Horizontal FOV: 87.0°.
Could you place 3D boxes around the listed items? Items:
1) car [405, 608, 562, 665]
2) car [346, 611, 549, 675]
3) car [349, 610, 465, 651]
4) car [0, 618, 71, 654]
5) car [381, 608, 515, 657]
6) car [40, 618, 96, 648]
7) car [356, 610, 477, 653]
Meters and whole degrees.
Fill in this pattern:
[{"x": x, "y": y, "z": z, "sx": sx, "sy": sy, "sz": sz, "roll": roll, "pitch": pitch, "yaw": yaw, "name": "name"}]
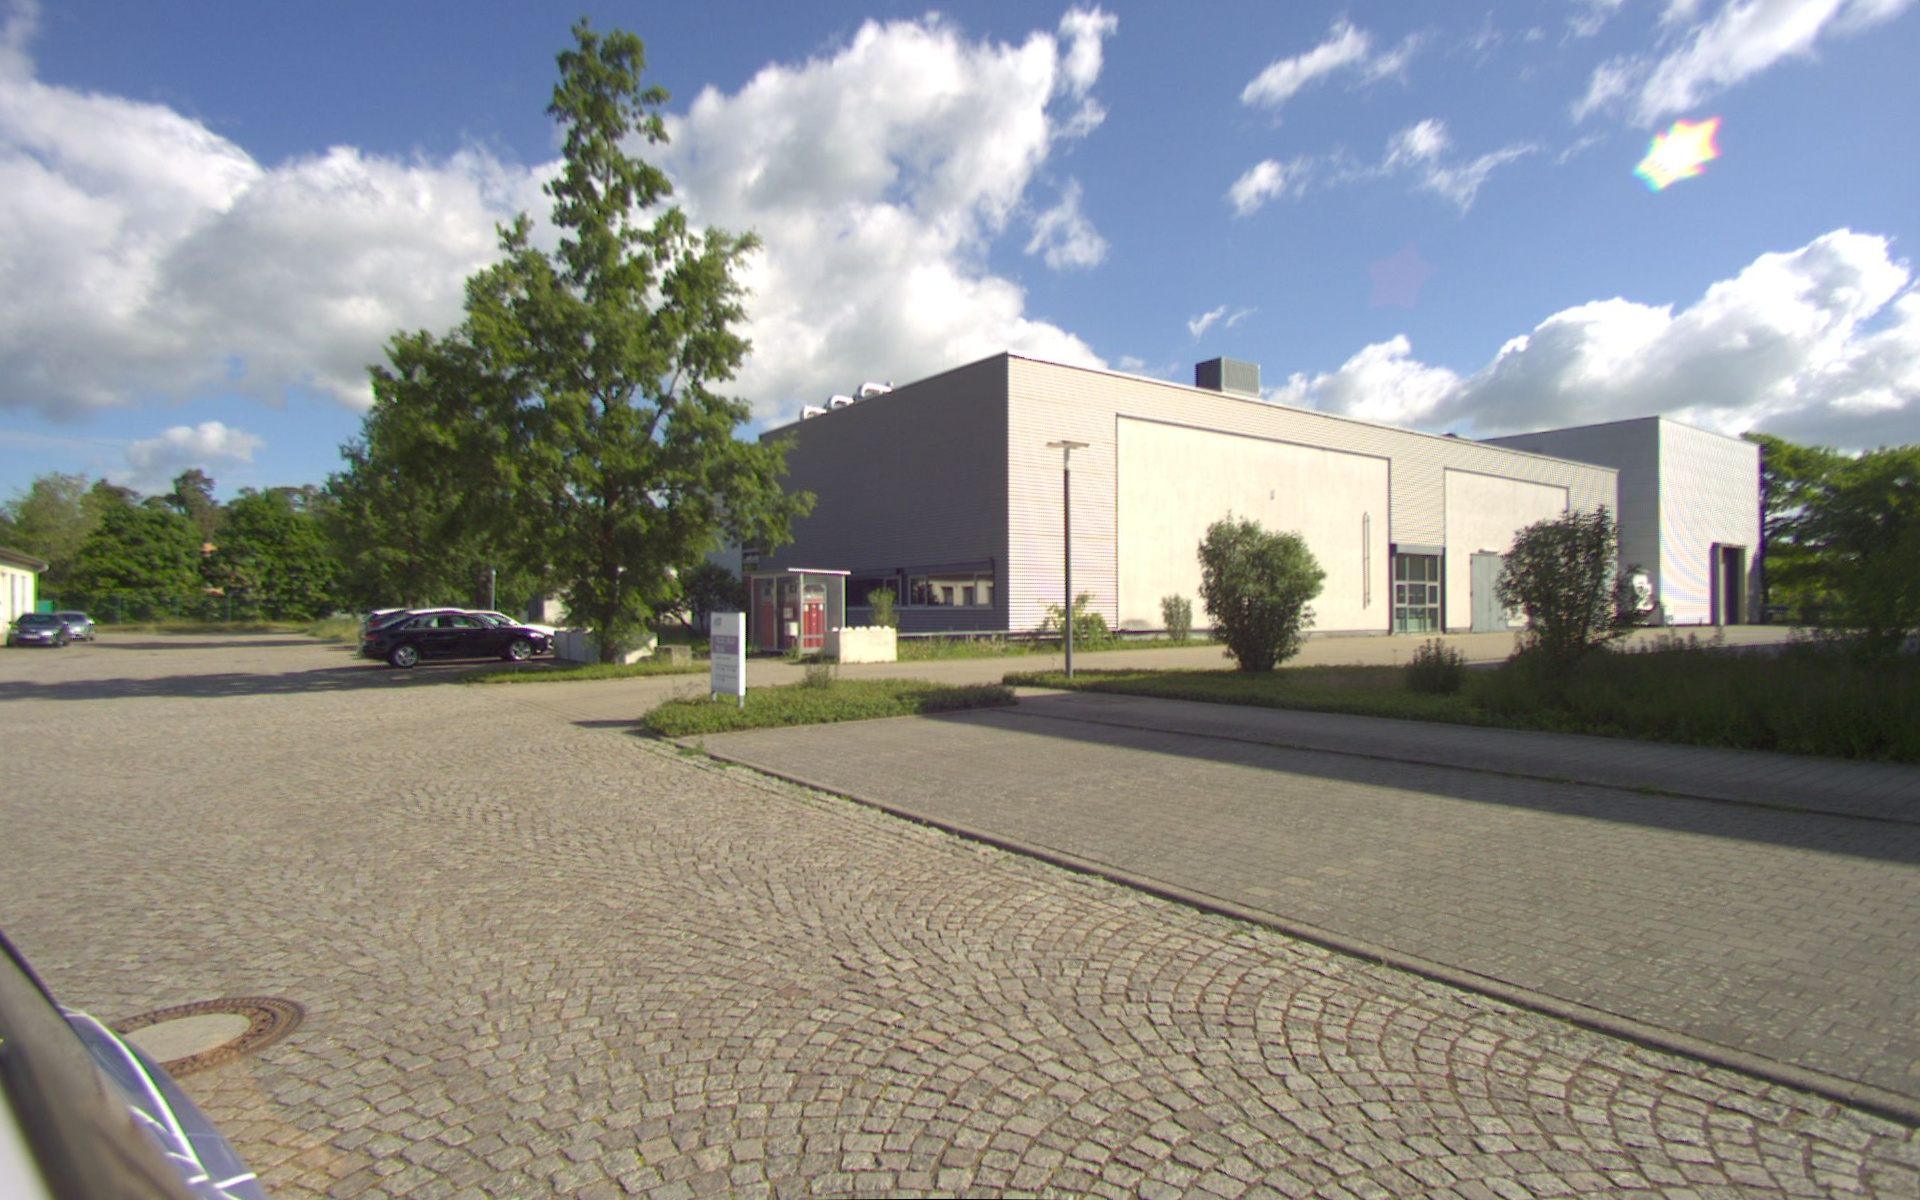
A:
[{"x": -14.275, "y": 1.048, "z": 30.374, "sx": 4.081, "sy": 1.471, "sz": 1.696, "roll": -2, "pitch": 0, "yaw": -31, "name": "car"}, {"x": -13.808, "y": 1.108, "z": 27.420, "sx": 4.657, "sy": 1.434, "sz": 1.761, "roll": -2, "pitch": 0, "yaw": -37, "name": "car"}, {"x": -22.195, "y": 1.197, "z": 40.656, "sx": 3.860, "sy": 1.446, "sz": 1.800, "roll": -2, "pitch": 0, "yaw": -35, "name": "car"}, {"x": -38.677, "y": 1.473, "z": 42.387, "sx": 1.740, "sy": 1.446, "sz": 4.002, "roll": 1, "pitch": -1, "yaw": -35, "name": "car"}, {"x": -17.482, "y": 1.086, "z": 34.606, "sx": 3.860, "sy": 1.457, "sz": 1.760, "roll": -2, "pitch": 0, "yaw": -35, "name": "car"}, {"x": -44.635, "y": 1.619, "z": 50.727, "sx": 1.664, "sy": 1.446, "sz": 3.996, "roll": 1, "pitch": -1, "yaw": -35, "name": "car"}, {"x": -20.650, "y": 1.177, "z": 38.491, "sx": 3.860, "sy": 1.428, "sz": 1.696, "roll": -2, "pitch": 0, "yaw": -35, "name": "car"}]
